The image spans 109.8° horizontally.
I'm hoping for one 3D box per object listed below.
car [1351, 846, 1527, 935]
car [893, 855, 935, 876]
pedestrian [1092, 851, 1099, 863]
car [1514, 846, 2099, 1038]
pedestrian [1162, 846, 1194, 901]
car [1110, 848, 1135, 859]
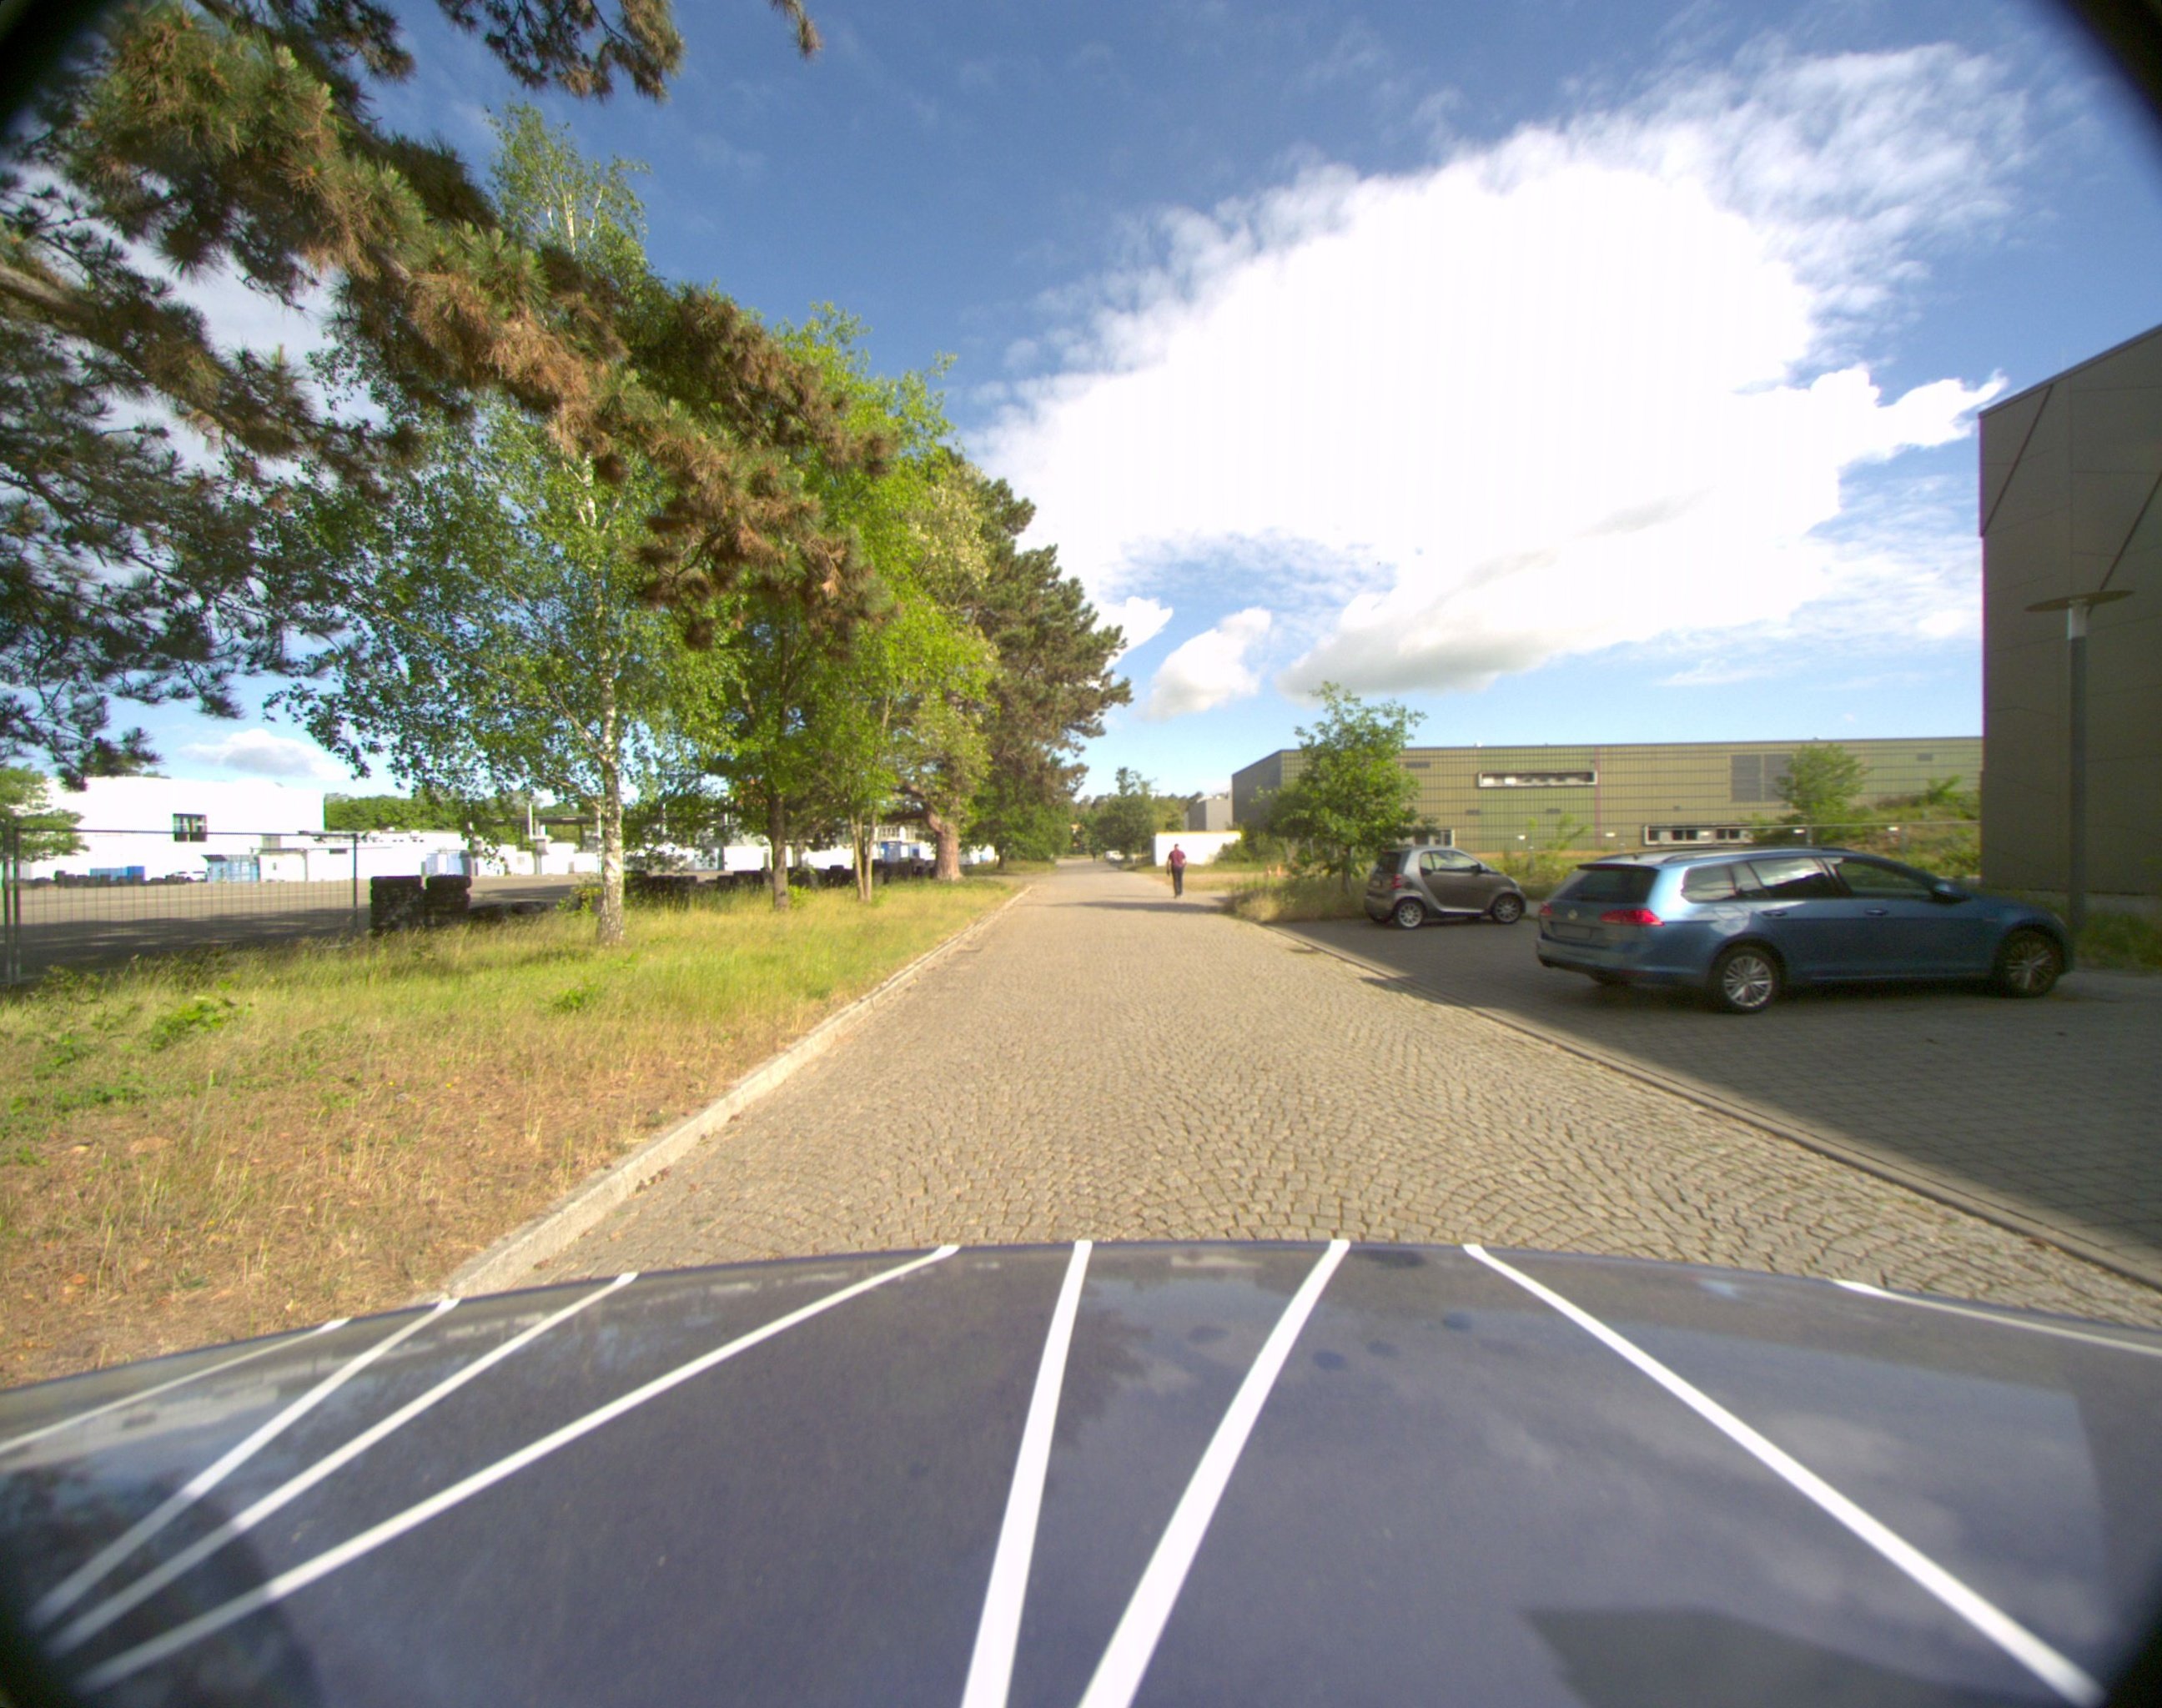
[{"bbox_3d":[6.955,0.674,14.941,2.706,1.533,1.518,-3,1,-1],"label":"car"},{"bbox_3d":[-12.337,0.858,56.478,1.846,1.440,4.001,-1,1,6],"label":"car"},{"bbox_3d":[2.177,0.477,113.712,0.908,1.797,0.983,-1,1,-7],"label":"pedestrian"},{"bbox_3d":[6.907,0.765,7.533,4.268,1.455,1.680,-3,1,-2],"label":"car"},{"bbox_3d":[3.176,0.617,25.018,0.806,1.761,1.152,-1,1,-4],"label":"pedestrian"},{"bbox_3d":[6.626,-0.150,122.212,3.996,1.678,2.000,-1,1,3],"label":"car"}]
